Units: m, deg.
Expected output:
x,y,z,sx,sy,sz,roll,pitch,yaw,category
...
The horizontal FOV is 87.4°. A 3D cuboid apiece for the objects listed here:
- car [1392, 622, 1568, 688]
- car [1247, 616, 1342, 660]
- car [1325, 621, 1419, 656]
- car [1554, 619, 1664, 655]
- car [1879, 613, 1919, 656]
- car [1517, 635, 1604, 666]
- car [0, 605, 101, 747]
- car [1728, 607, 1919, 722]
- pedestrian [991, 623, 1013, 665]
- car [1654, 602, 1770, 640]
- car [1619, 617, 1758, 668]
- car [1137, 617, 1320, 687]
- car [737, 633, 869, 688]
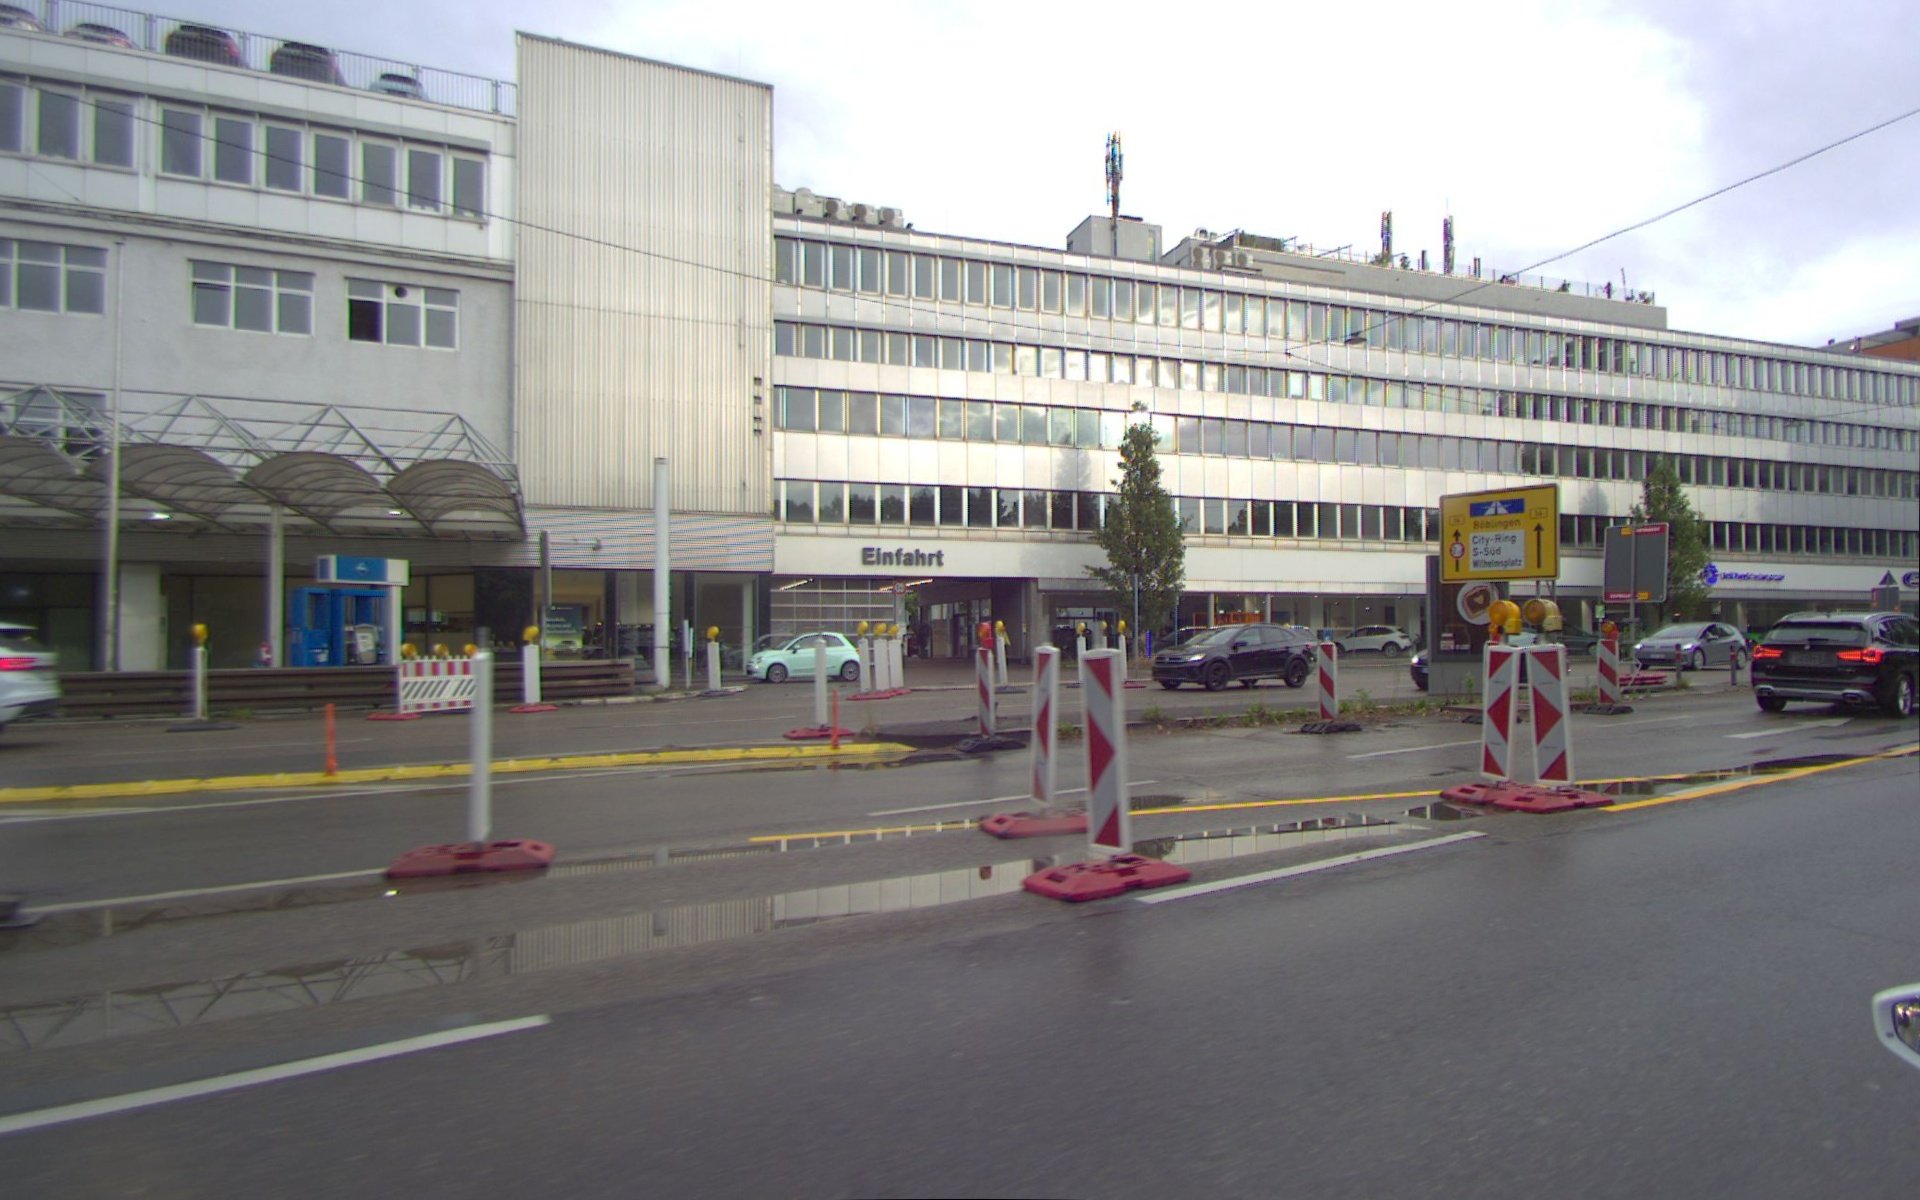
x,y,z,sx,sy,sz,roll,pitch,yaw,category
11.885,1.229,22.900,4.068,1.372,1.681,1,-3,-31,car
16.436,1.913,49.442,3.941,2.040,1.991,-3,-4,40,car
21.182,2.016,51.636,4.305,1.673,1.852,-2,-3,27,car
37.128,2.151,57.595,4.891,1.922,2.000,-2,-3,20,car
41.267,1.451,42.554,4.541,1.760,1.840,1,-2,-25,car
32.998,2.801,55.219,3.934,1.594,1.994,-3,-4,35,car
-13.777,0.943,12.172,4.774,1.729,1.971,1,-3,-30,car
15.167,0.971,16.922,4.614,1.619,1.938,-1,1,-30,car
1.761,1.872,42.327,0.656,1.743,0.706,-2,-3,27,pedestrian
44.017,1.264,58.940,5.112,2.037,1.997,-3,-3,29,car
23.640,1.352,32.575,4.242,1.579,1.803,1,-2,-25,car
6.298,1.220,23.584,3.944,1.533,1.748,1,-3,-24,car
-4.783,1.819,30.582,3.703,1.555,1.649,0,-3,-24,car
